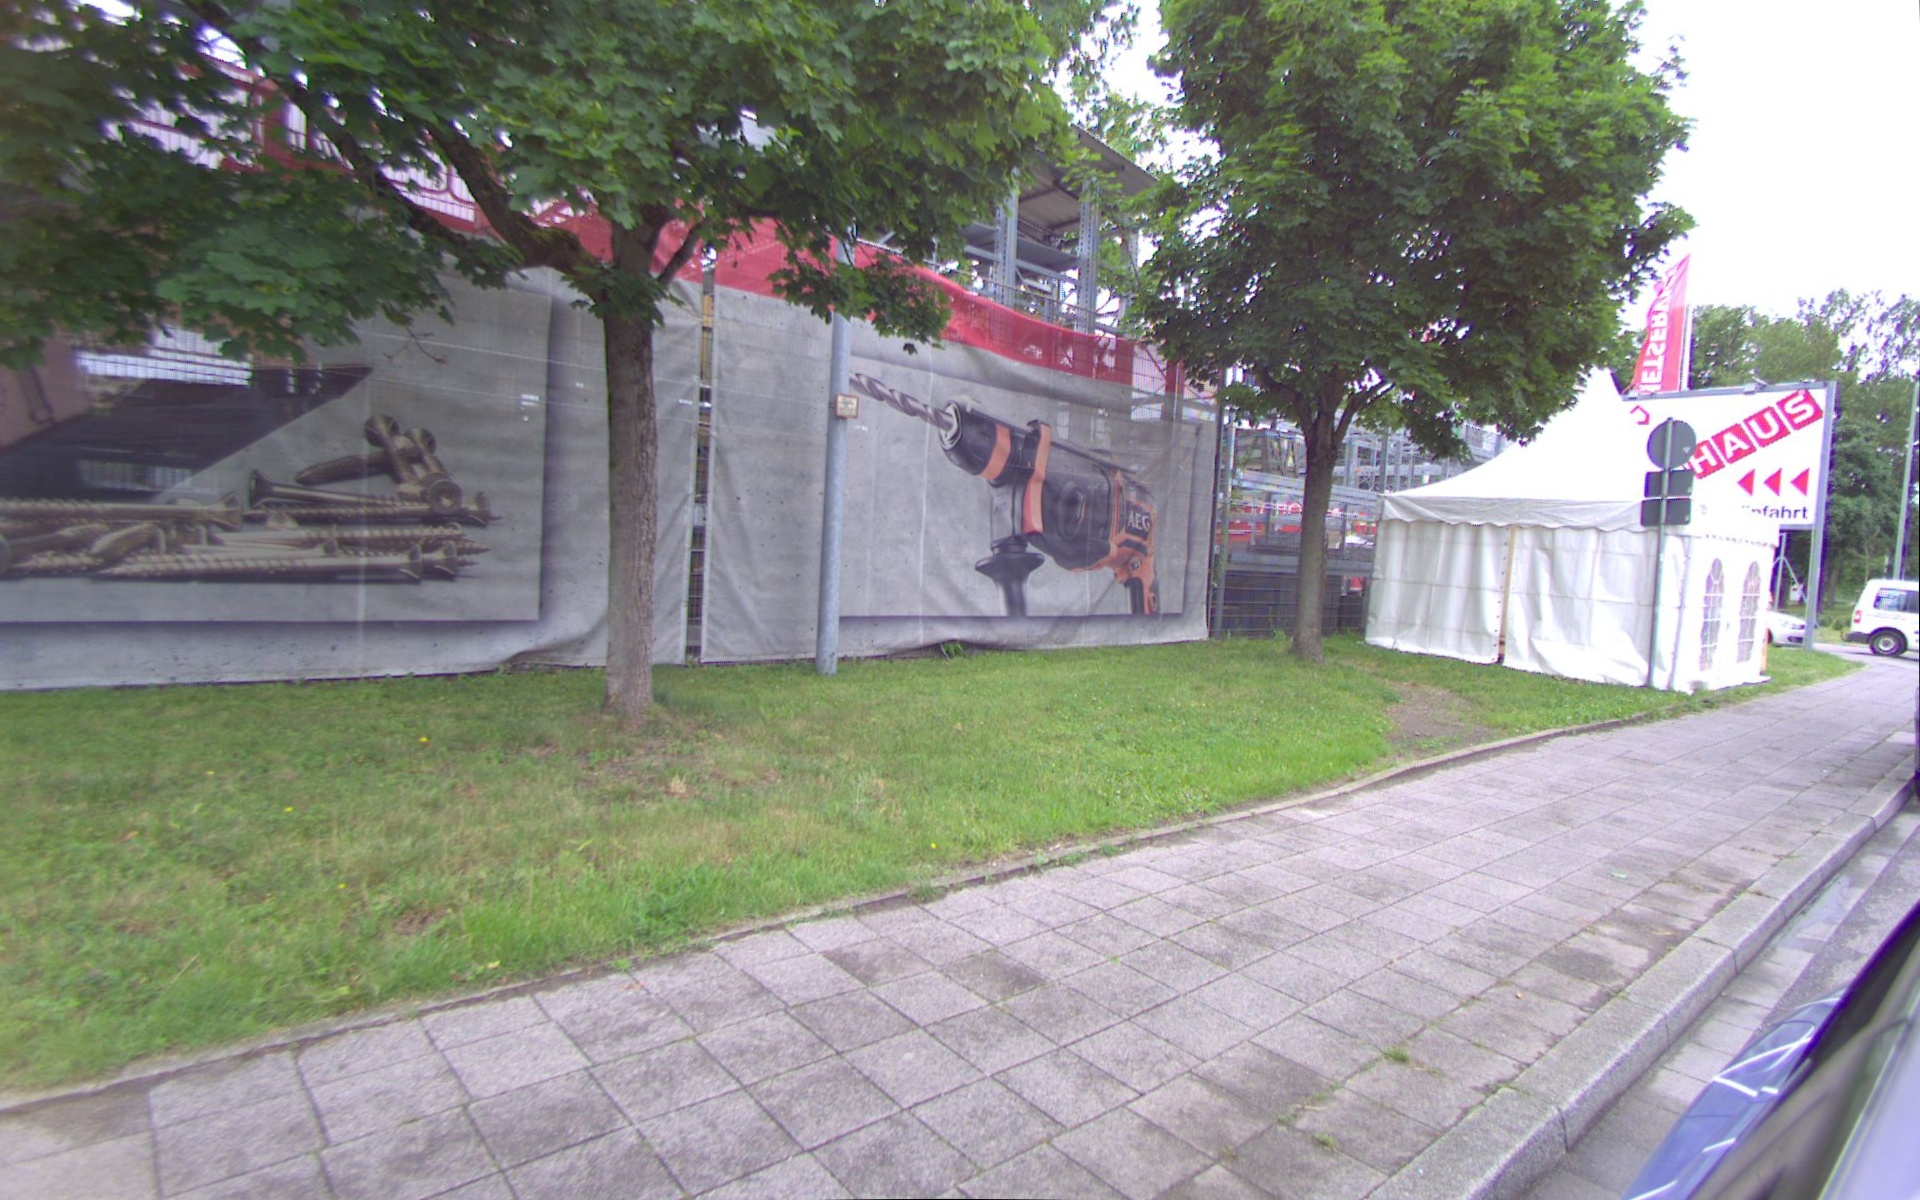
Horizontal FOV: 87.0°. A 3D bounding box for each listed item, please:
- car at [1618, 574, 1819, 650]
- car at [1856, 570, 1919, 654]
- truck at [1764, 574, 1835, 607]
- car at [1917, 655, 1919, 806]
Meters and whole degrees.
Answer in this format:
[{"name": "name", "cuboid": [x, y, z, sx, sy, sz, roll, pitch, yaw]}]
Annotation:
[{"name": "car", "cuboid": [18.298, 0.230, 24.507, 3.679, 1.603, 1.749, 4, 3, 44]}, {"name": "car", "cuboid": [23.464, 0.451, 22.974, 1.770, 1.828, 4.380, 0, 6, -42]}, {"name": "truck", "cuboid": [68.231, -0.783, 82.261, 3.923, 2.425, 2.002, 3, 3, -1]}, {"name": "car", "cuboid": [9.081, 0.600, 7.871, 4.401, 1.763, 1.912, 0, 1, -41]}]
